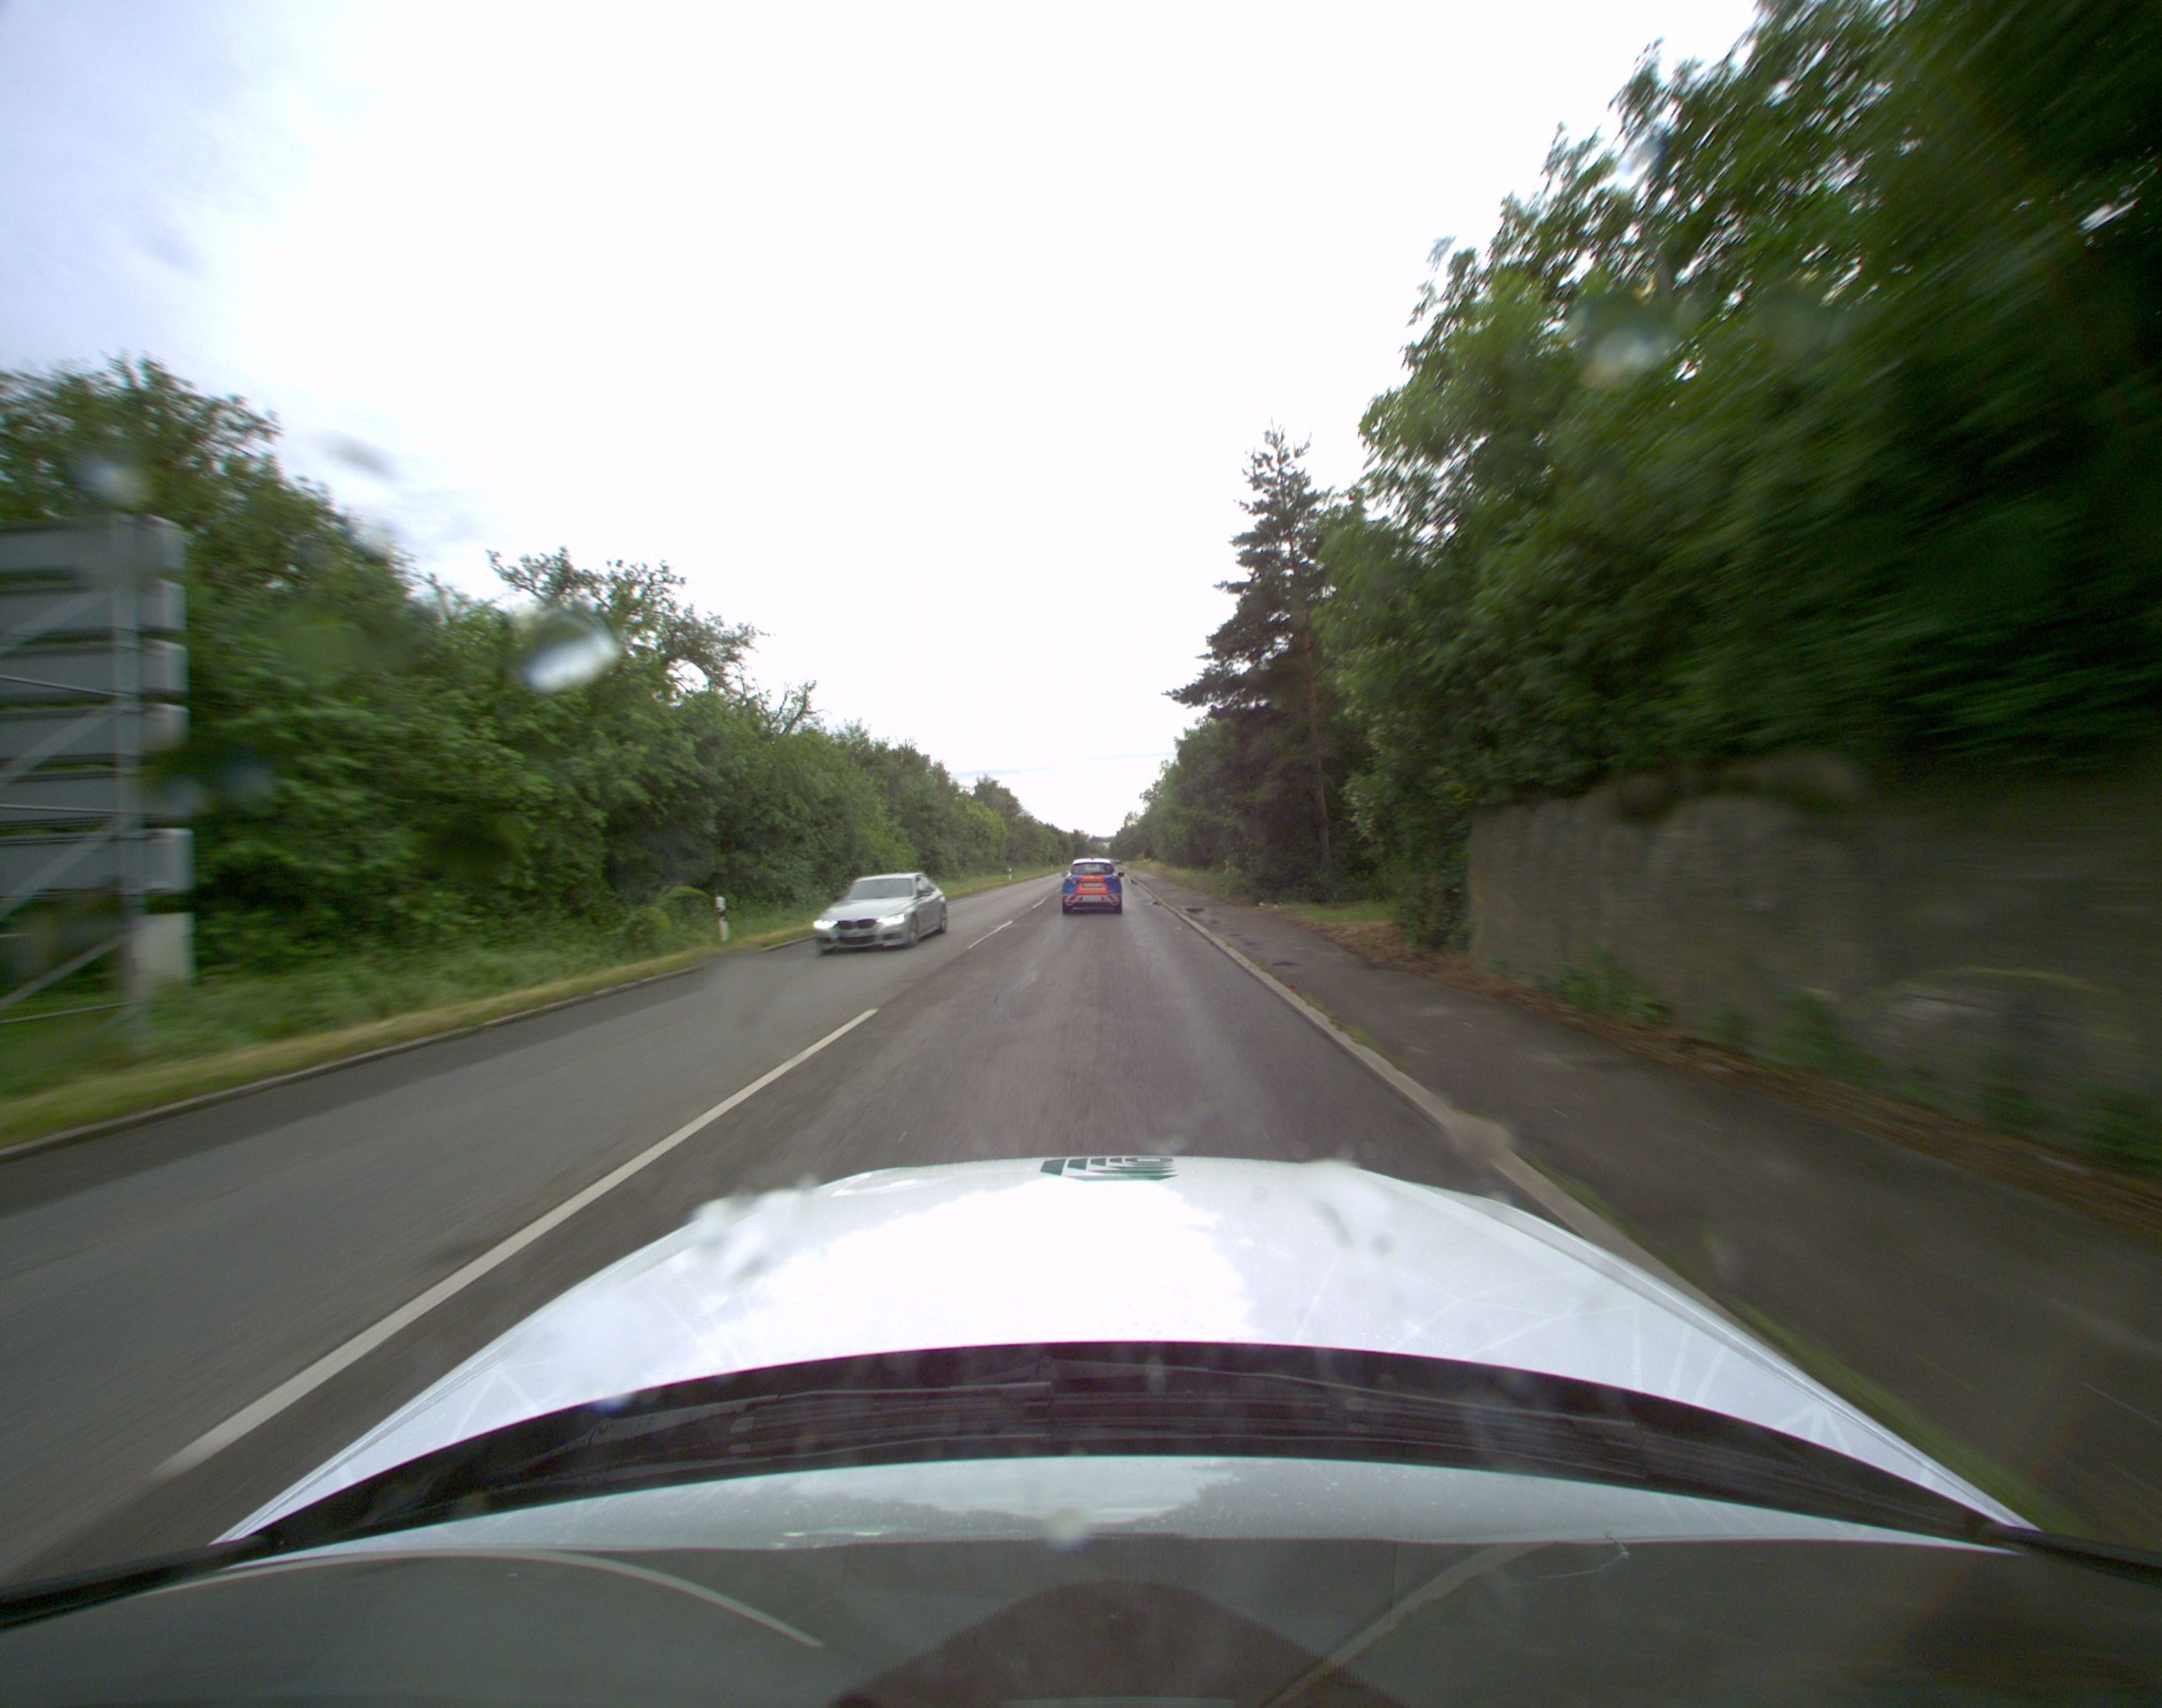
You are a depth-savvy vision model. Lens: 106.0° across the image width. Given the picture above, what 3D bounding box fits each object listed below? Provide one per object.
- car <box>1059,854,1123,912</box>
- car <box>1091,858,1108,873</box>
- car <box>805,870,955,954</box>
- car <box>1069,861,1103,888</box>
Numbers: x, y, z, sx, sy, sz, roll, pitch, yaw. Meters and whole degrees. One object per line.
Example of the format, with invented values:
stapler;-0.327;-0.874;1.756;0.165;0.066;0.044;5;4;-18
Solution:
car;0.337;0.801;24.319;1.745;1.555;3.794;-1;0;2
car;2.316;1.380;102.198;1.934;1.723;4.065;-3;0;2
car;-3.915;1.071;16.679;1.884;1.354;4.382;-2;0;1
car;0.312;1.025;42.426;1.592;1.287;3.478;-3;-1;2
